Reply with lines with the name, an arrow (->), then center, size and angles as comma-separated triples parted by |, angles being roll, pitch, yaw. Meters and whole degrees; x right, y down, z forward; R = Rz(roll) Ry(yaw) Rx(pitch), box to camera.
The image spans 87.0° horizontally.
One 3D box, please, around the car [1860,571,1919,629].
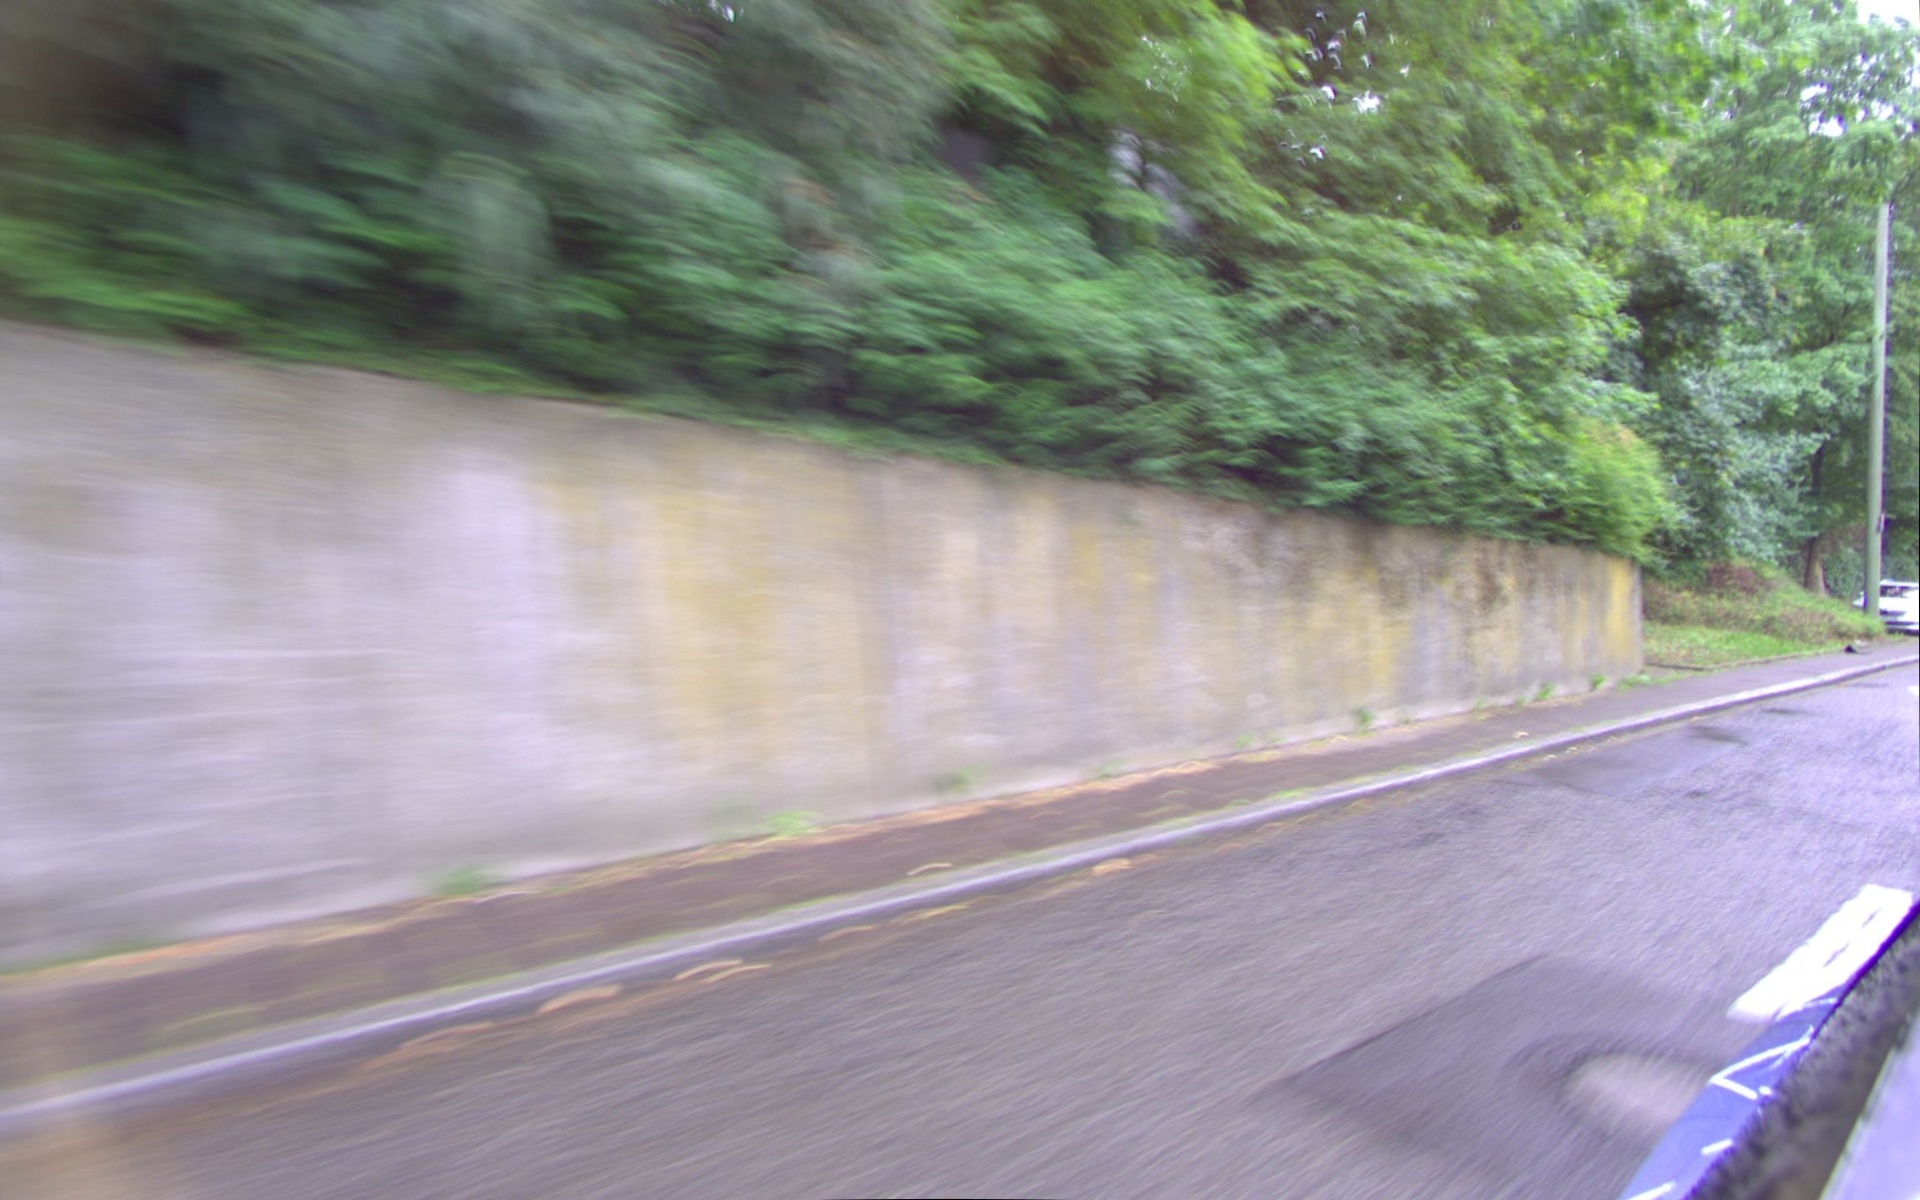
car -> 27.471, -0.022, 28.880 | 4.652, 1.495, 1.744 | -1, 4, -37
